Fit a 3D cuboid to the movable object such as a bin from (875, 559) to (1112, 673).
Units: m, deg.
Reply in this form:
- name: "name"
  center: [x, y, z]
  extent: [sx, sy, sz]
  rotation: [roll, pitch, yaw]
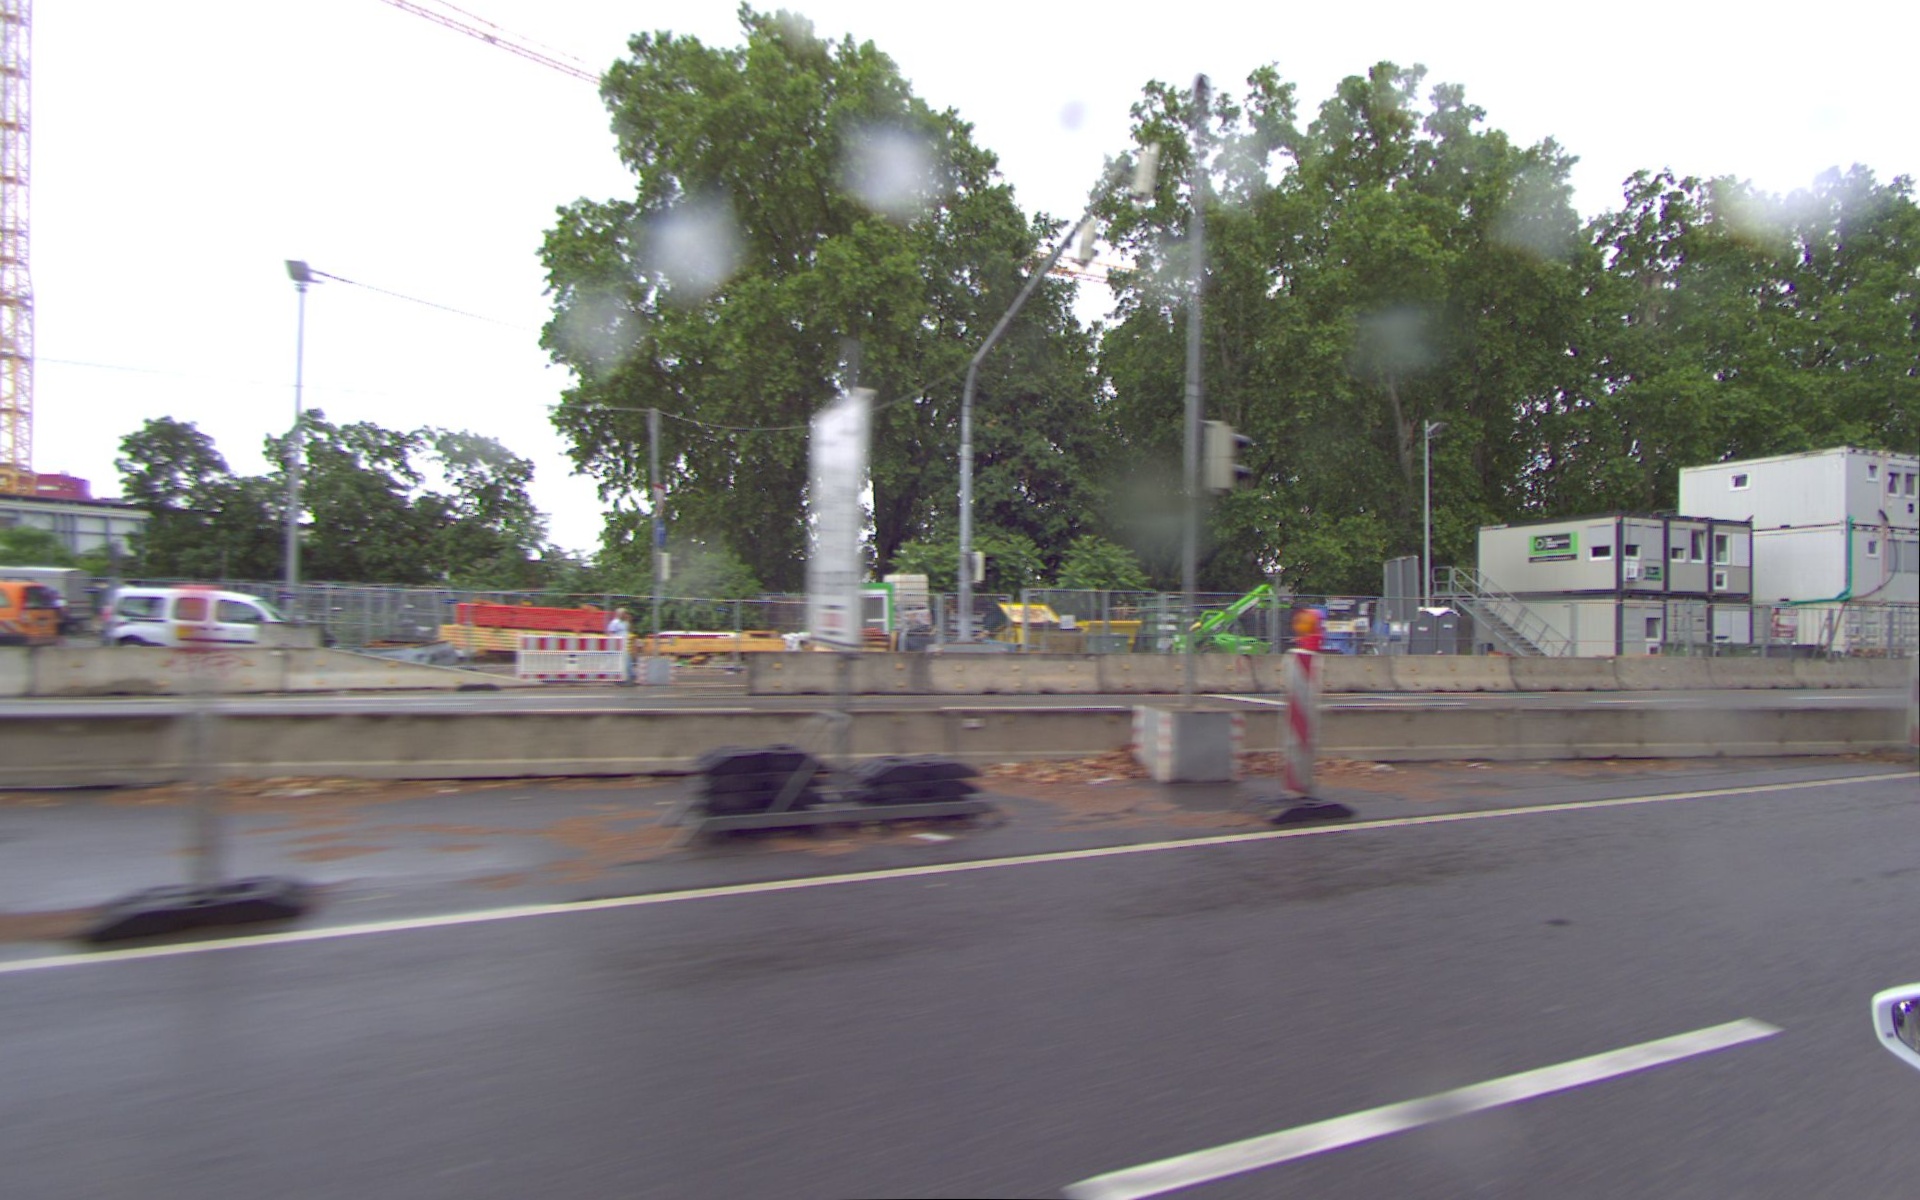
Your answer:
- name: "movable object such as a bin"
  center: [0.957, 0.589, 31.013]
  extent: [6.295, 3.169, 3.925]
  rotation: [2, -2, -22]

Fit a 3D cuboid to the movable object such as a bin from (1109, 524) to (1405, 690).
- name: "movable object such as a bin"
  center: [9.699, 0.380, 33.075]
  extent: [8.238, 4.866, 4.741]
  rotation: [2, -2, -22]

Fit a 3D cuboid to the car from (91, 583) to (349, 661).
- name: "car"
  center: [-18.014, 0.587, 24.758]
  extent: [4.729, 1.784, 1.841]
  rotation: [2, -2, -23]

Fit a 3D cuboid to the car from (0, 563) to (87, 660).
- name: "car"
  center: [-23.329, 0.253, 22.317]
  extent: [5.508, 2.128, 1.988]
  rotation: [2, -4, -26]

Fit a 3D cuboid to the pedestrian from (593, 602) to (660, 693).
- name: "pedestrian"
  center: [-7.710, 1.073, 23.221]
  extent: [1.171, 2.040, 1.163]
  rotation: [1, 0, -34]

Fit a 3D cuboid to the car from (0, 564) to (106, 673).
- name: "car"
  center: [-29.129, 0.527, 29.153]
  extent: [6.083, 3.106, 2.268]
  rotation: [2, -2, -24]
